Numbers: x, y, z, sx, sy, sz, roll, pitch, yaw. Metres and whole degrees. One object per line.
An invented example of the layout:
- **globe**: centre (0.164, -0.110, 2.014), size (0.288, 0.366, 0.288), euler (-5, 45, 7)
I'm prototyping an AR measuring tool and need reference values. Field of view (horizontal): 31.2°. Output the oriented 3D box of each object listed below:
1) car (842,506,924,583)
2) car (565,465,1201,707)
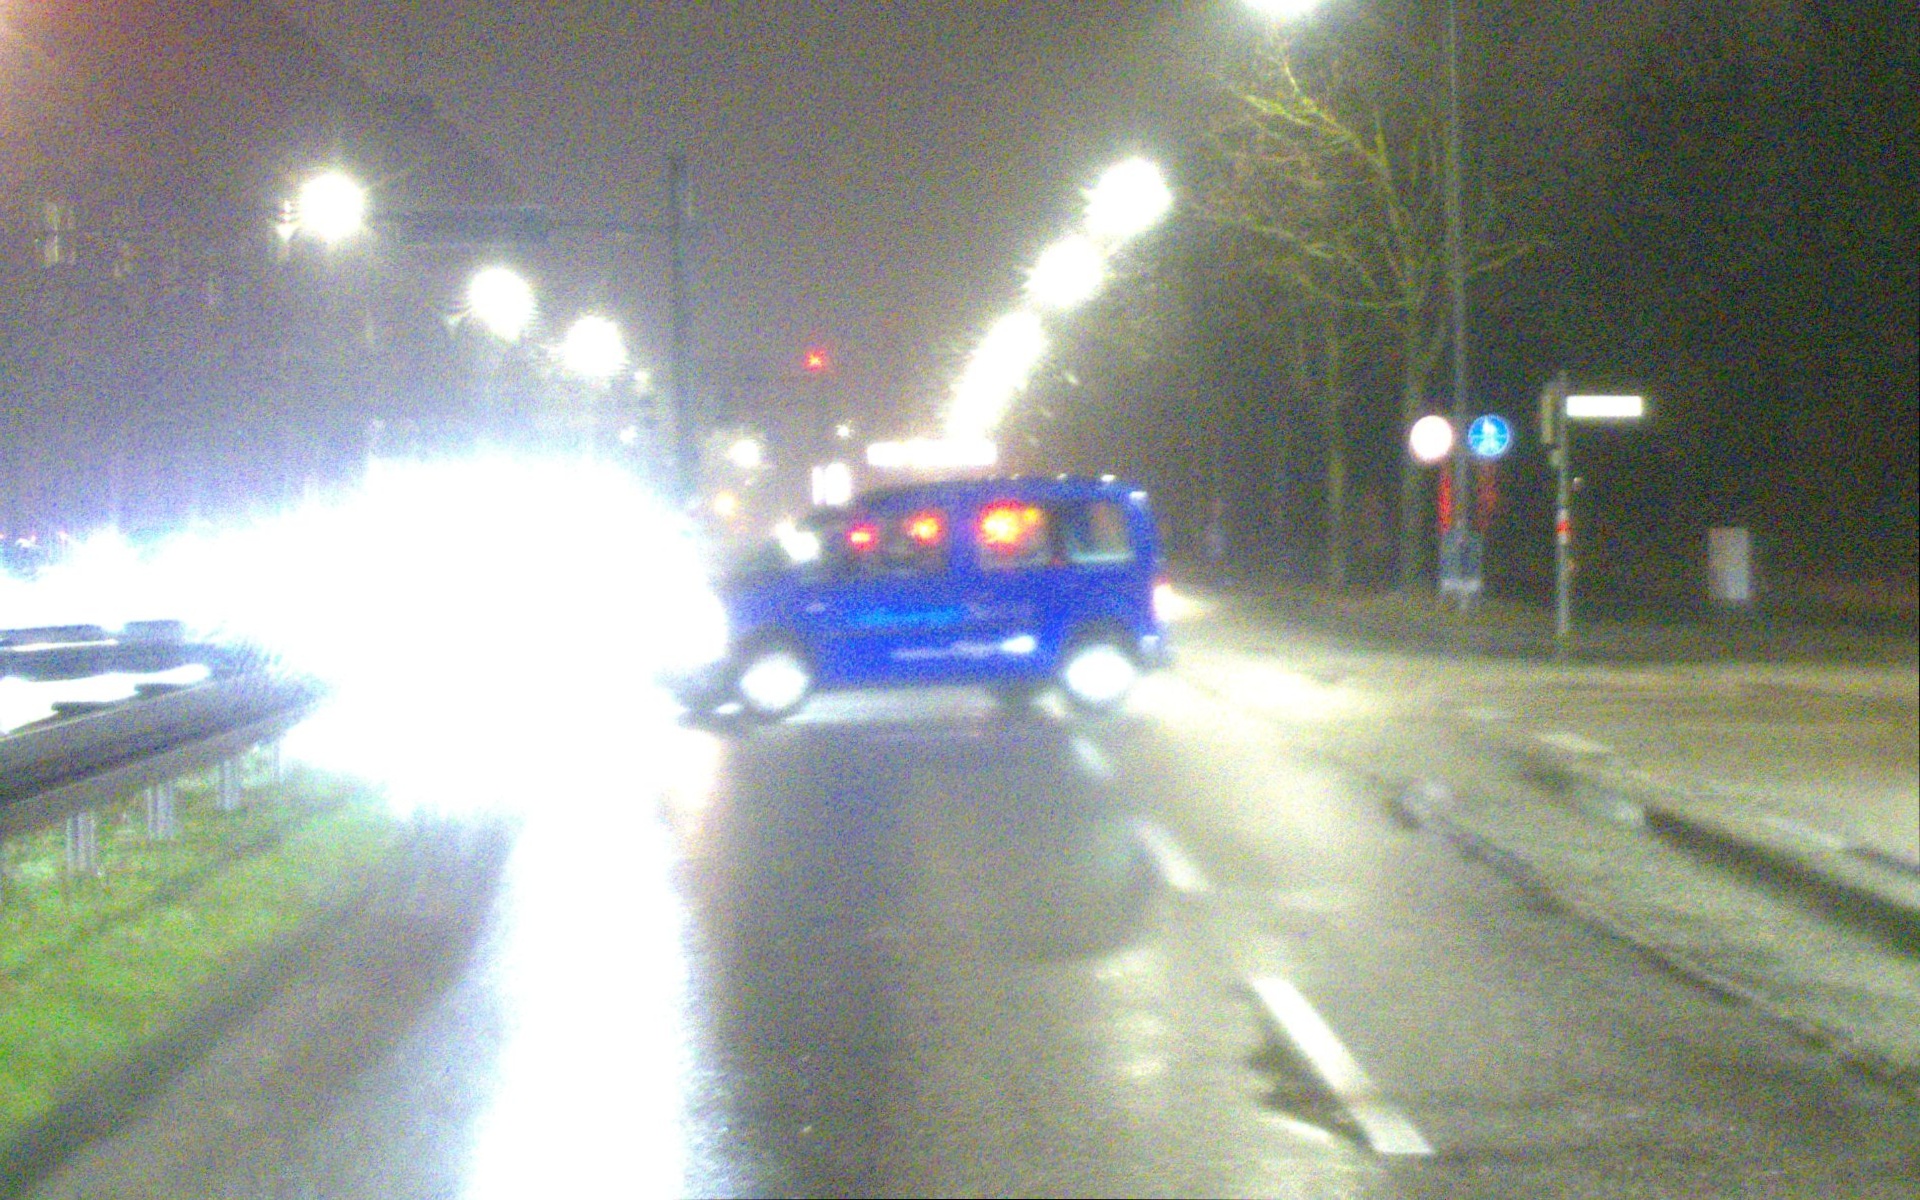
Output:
- **car**: centre (-2.118, -1.492, 93.407), size (1.993, 2.007, 4.633), euler (1, 1, -4)
- **car**: centre (-0.591, -0.092, 26.419), size (4.490, 1.743, 1.860), euler (1, 1, -23)
